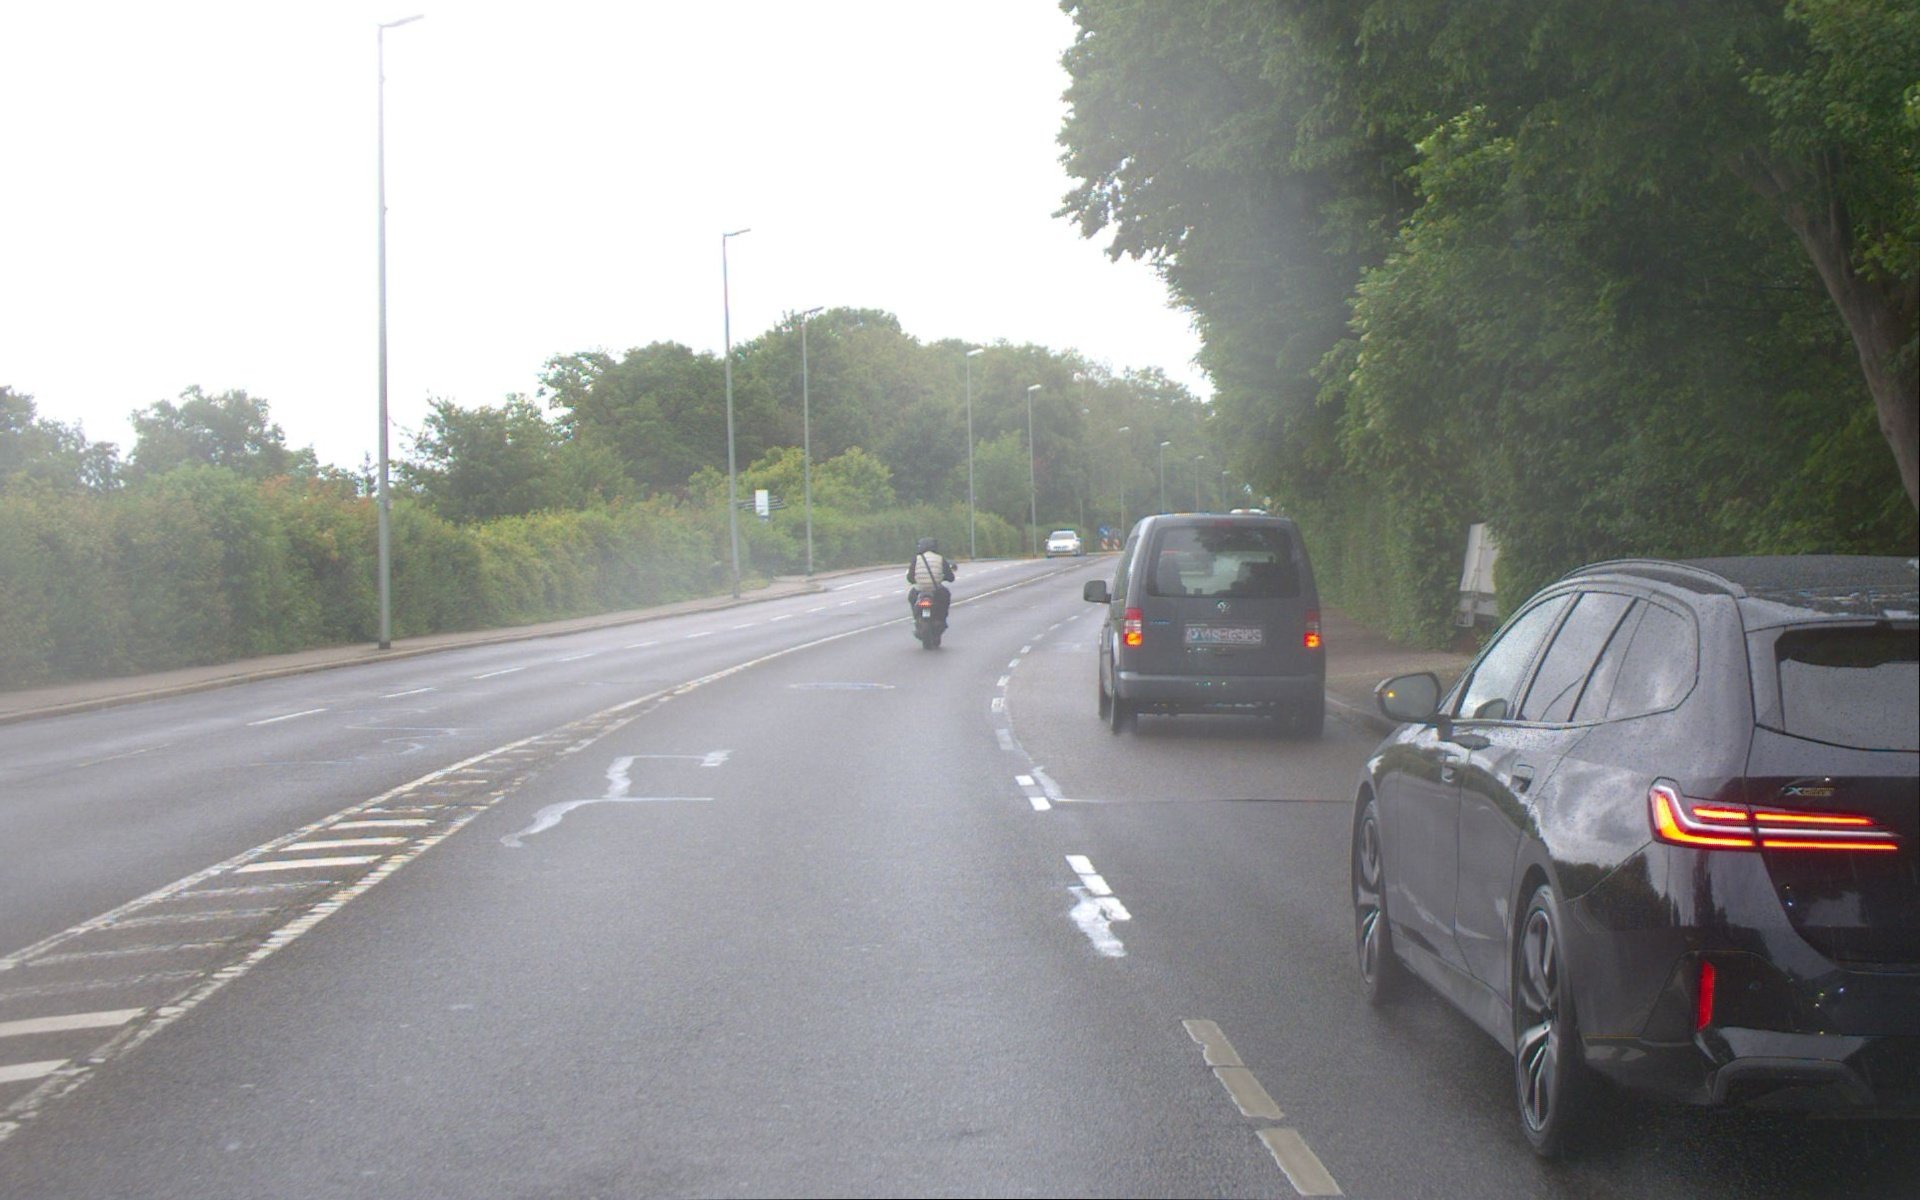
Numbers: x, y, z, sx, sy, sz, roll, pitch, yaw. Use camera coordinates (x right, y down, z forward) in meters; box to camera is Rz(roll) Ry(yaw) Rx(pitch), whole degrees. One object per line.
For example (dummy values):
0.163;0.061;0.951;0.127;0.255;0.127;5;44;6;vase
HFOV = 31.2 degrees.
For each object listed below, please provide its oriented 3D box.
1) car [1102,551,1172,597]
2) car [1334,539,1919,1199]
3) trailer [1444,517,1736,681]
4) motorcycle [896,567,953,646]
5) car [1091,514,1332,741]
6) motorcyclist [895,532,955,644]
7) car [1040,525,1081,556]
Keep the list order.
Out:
6.038;-0.897;116.609;2.015;1.410;4.485;0;3;7;car
2.214;0.629;9.250;1.764;1.531;3.673;1;1;-4;car
8.013;-0.032;43.915;3.348;1.642;1.198;8;2;2;trailer
-0.523;0.093;51.131;0.741;1.115;1.426;0;2;4;motorcycle
2.075;0.174;29.313;1.767;1.804;3.905;0;1;0;car
-0.520;-0.183;51.065;0.845;1.641;0.468;0;2;4;motorcyclist
5.716;-3.402;195.936;1.748;1.656;3.856;0;2;-7;car
